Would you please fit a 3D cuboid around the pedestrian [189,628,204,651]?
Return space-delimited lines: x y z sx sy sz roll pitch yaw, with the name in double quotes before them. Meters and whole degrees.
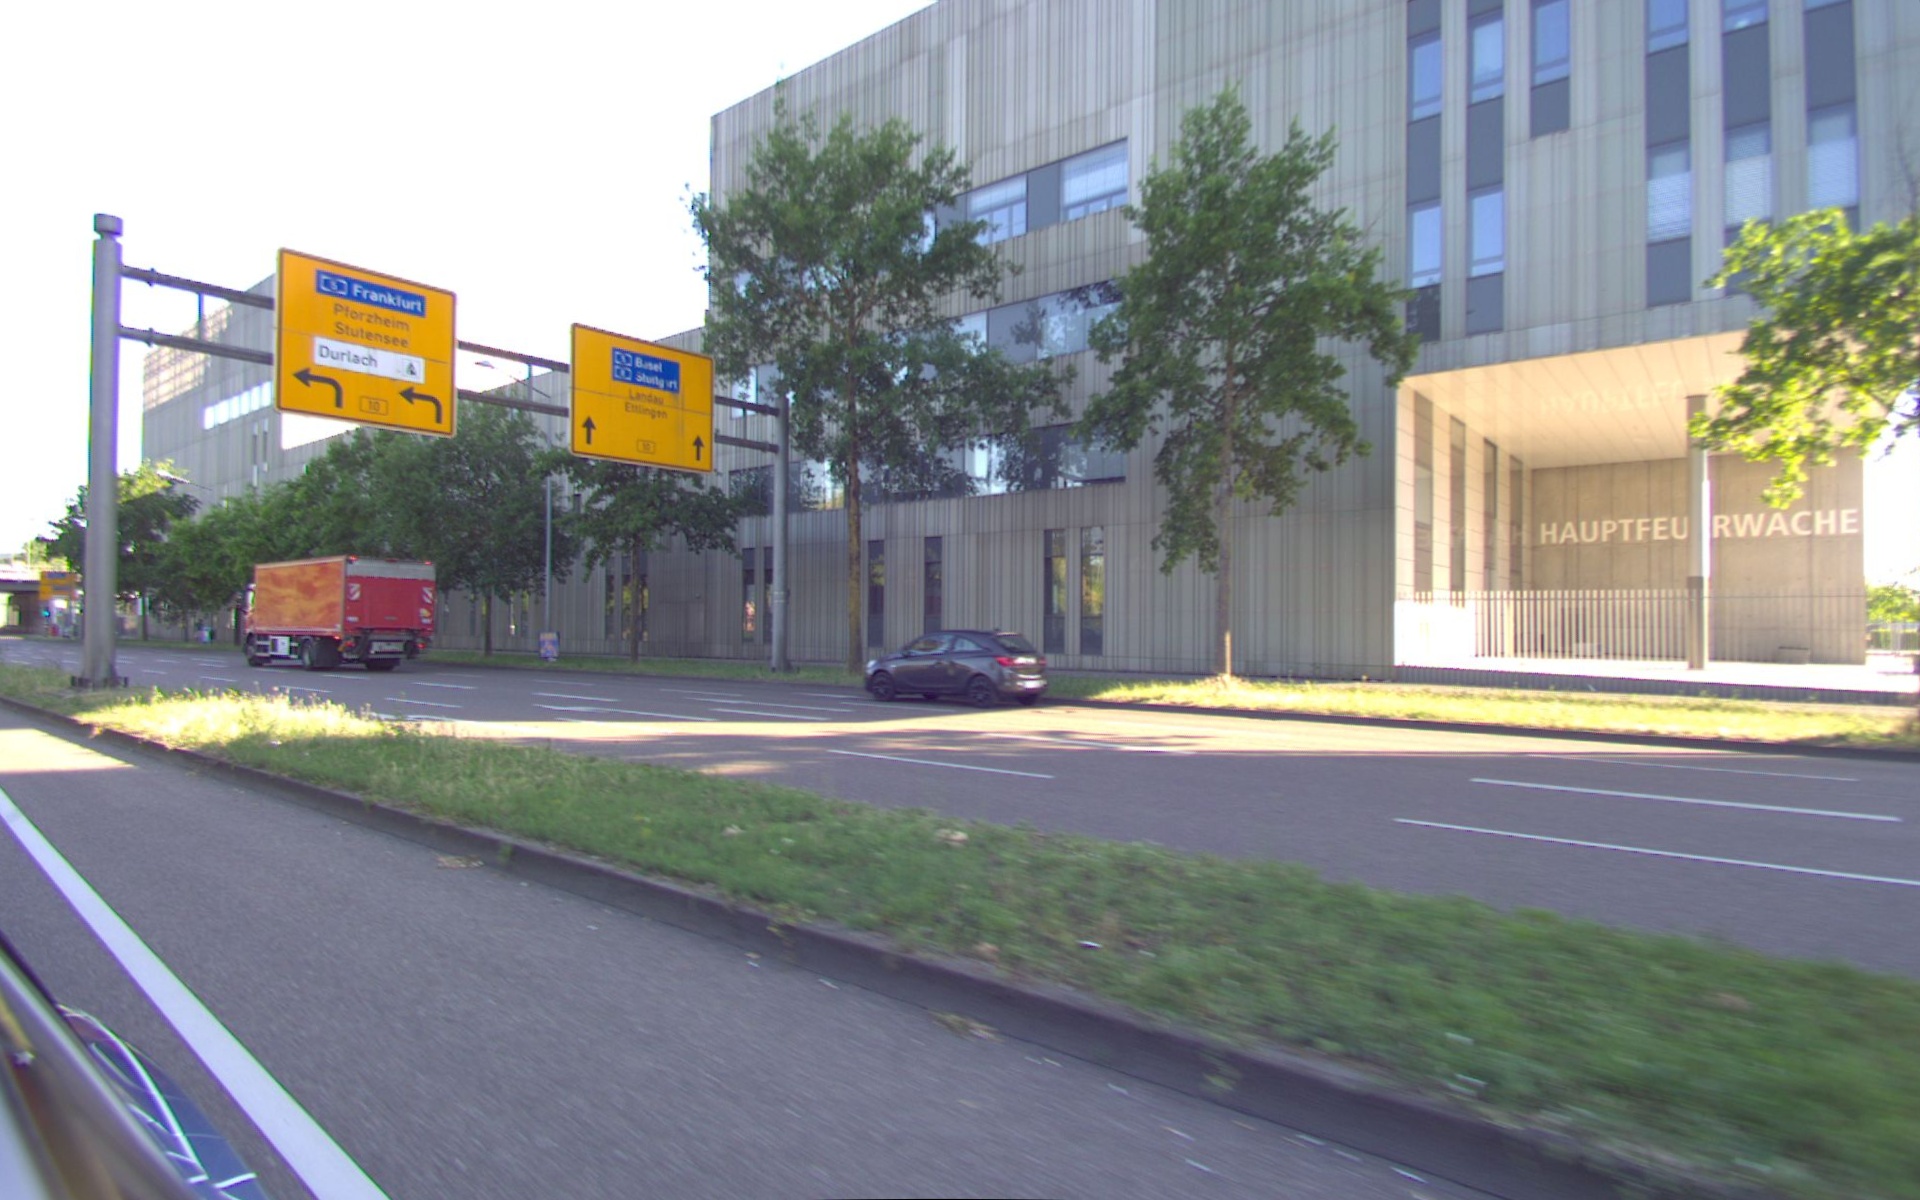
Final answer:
"pedestrian" -56.354 2.922 74.670 0.724 1.641 0.690 -1 -2 39

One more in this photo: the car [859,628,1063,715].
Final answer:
"car" -0.042 1.303 19.689 3.863 1.524 1.580 -1 -2 39

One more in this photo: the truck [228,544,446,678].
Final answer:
"truck" -20.798 0.428 33.435 10.078 3.840 2.969 -1 -2 39
